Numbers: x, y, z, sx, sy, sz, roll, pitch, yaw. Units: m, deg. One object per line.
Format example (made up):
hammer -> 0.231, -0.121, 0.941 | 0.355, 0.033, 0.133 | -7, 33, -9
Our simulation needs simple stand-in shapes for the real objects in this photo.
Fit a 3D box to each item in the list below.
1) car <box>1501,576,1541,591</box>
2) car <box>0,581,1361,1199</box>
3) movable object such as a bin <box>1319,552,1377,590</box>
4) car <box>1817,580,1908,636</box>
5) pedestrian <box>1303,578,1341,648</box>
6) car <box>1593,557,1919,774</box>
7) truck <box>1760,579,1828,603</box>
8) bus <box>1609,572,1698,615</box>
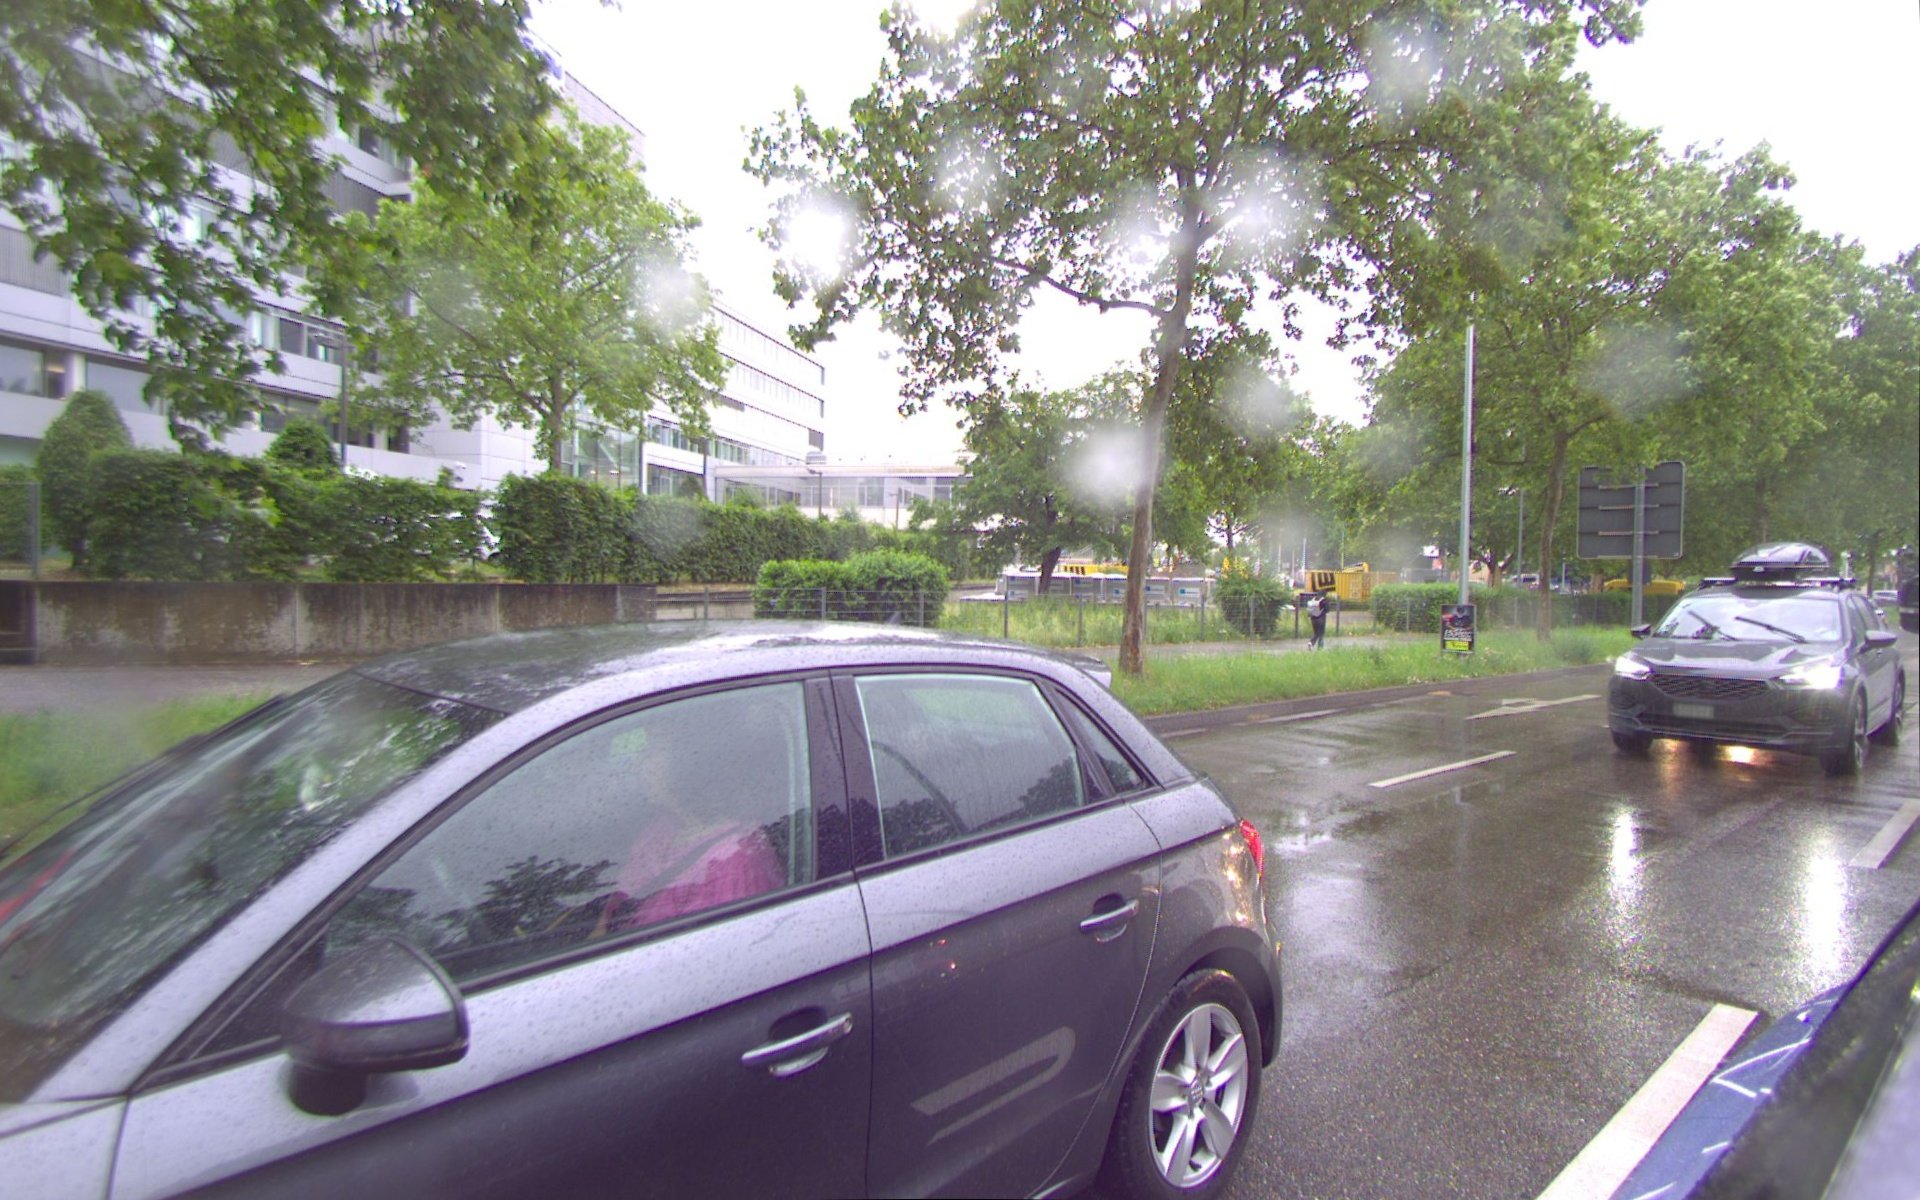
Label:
car -> 53.167, -1.577, 95.938 | 3.115, 1.346, 1.419 | 0, 0, 23
car -> -0.848, 0.695, 2.185 | 3.715, 1.446, 1.679 | 0, 1, -41
movable object such as a bin -> 36.551, -2.677, 95.503 | 4.867, 3.478, 1.909 | 0, 0, 15
car -> 29.306, 0.264, 32.830 | 4.074, 1.707, 1.677 | 1, -1, -41
pedestrian -> 9.094, 0.318, 25.430 | 0.645, 1.738, 0.645 | 0, 0, -40
car -> 8.160, 0.496, 10.185 | 4.347, 1.719, 1.892 | 0, 1, -42
truck -> 85.214, -0.910, 103.450 | 4.988, 2.406, 1.785 | 0, 0, 19
bus -> 43.741, -0.413, 63.907 | 1.681, 2.600, 4.366 | 0, 0, -41
